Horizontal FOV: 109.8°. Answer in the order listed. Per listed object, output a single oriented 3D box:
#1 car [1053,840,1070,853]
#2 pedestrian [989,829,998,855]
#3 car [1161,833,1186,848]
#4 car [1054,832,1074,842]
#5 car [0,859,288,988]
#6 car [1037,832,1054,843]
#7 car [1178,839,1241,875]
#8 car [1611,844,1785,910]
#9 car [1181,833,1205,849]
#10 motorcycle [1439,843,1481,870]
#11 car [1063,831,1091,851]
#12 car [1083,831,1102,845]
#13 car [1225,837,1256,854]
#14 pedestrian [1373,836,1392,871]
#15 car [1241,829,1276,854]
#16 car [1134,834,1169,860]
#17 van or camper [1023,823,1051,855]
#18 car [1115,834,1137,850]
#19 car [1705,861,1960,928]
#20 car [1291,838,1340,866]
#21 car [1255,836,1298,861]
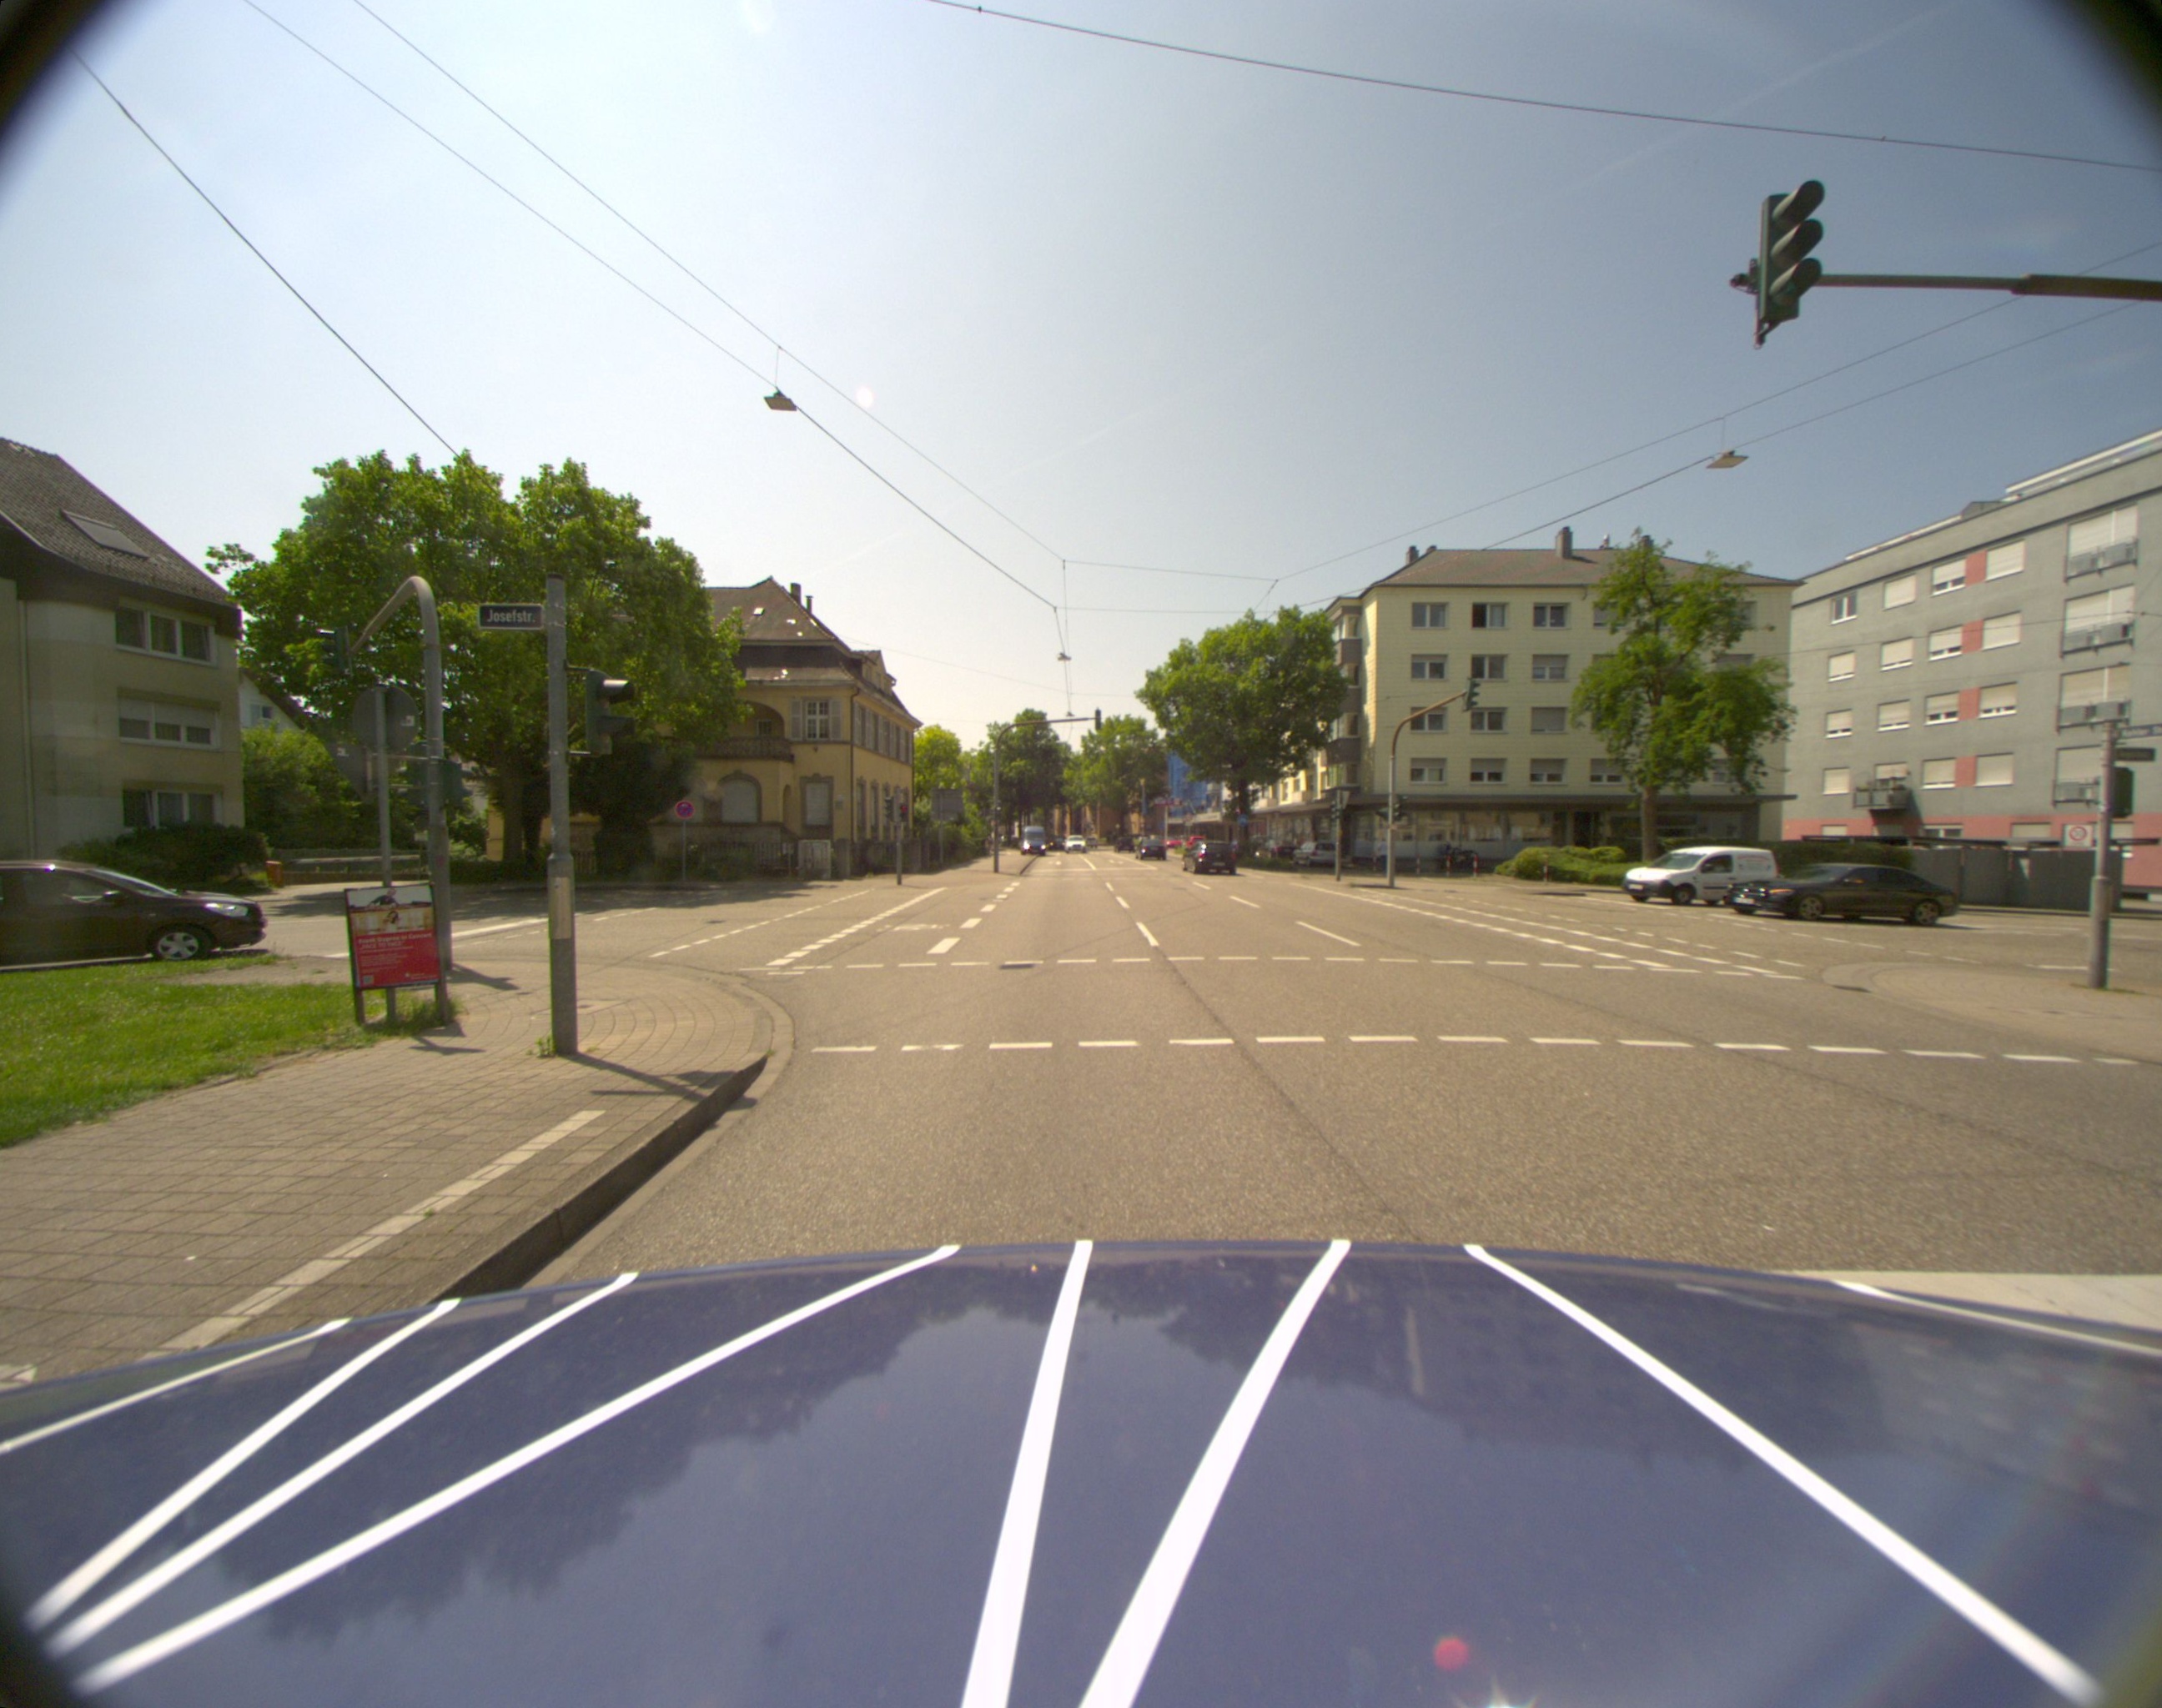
[{"bbox_3d":[-2.298,-0.921,88.879,1.736,1.397,4.330,-1,2,-5],"label":"car"},{"bbox_3d":[-6.390,-0.902,55.377,0.621,1.908,0.743,0,3,-1],"label":"pedestrian"},{"bbox_3d":[9.781,-1.433,80.679,1.913,1.511,4.331,0,2,-4],"label":"car"},{"bbox_3d":[-2.513,-2.545,112.774,1.811,1.441,3.845,-2,2,-18],"label":"car"},{"bbox_3d":[-15.549,1.024,11.425,4.827,1.623,1.912,-3,4,-42],"label":"car"},{"bbox_3d":[-5.776,-2.741,124.353,1.916,1.719,3.993,-2,2,-14],"label":"car"},{"bbox_3d":[5.482,0.100,32.905,1.841,1.391,4.047,1,2,-3],"label":"car"},{"bbox_3d":[18.604,0.659,23.038,3.696,1.726,1.893,2,2,-3],"label":"car"},{"bbox_3d":[10.311,-1.207,69.923,1.639,1.460,3.633,0,2,0],"label":"car"},{"bbox_3d":[20.533,0.114,41.181,1.919,1.413,0.714,-1,4,0],"label":"motorcycle"},{"bbox_3d":[-0.399,-1.258,71.789,2.000,1.740,4.440,-2,2,-8],"label":"car"},{"bbox_3d":[1.363,-2.036,94.471,1.821,1.510,4.626,1,3,-5],"label":"car"},{"bbox_3d":[13.308,-0.757,63.483,1.704,1.280,3.859,-1,2,-1],"label":"car"},{"bbox_3d":[15.474,-0.024,39.015,0.628,1.748,0.743,0,-2,-1],"label":"pedestrian"},{"bbox_3d":[13.511,-0.940,57.967,1.643,1.829,3.858,-1,2,-1],"label":"car"},{"bbox_3d":[4.717,-0.538,51.243,1.760,1.552,4.314,2,3,-3],"label":"car"},{"bbox_3d":[-3.828,-1.313,65.104,2.165,2.568,5.840,-1,3,-6],"label":"van or camper"},{"bbox_3d":[4.195,-1.140,71.125,1.620,1.447,3.708,0,1,-2],"label":"car"},{"bbox_3d":[19.255,1.008,19.615,4.618,1.393,2.115,2,2,-5],"label":"car"},{"bbox_3d":[13.552,-0.152,44.152,1.586,1.450,3.938,0,2,-1],"label":"car"},{"bbox_3d":[13.330,-0.413,52.097,1.626,1.560,4.837,0,2,-1],"label":"car"}]
